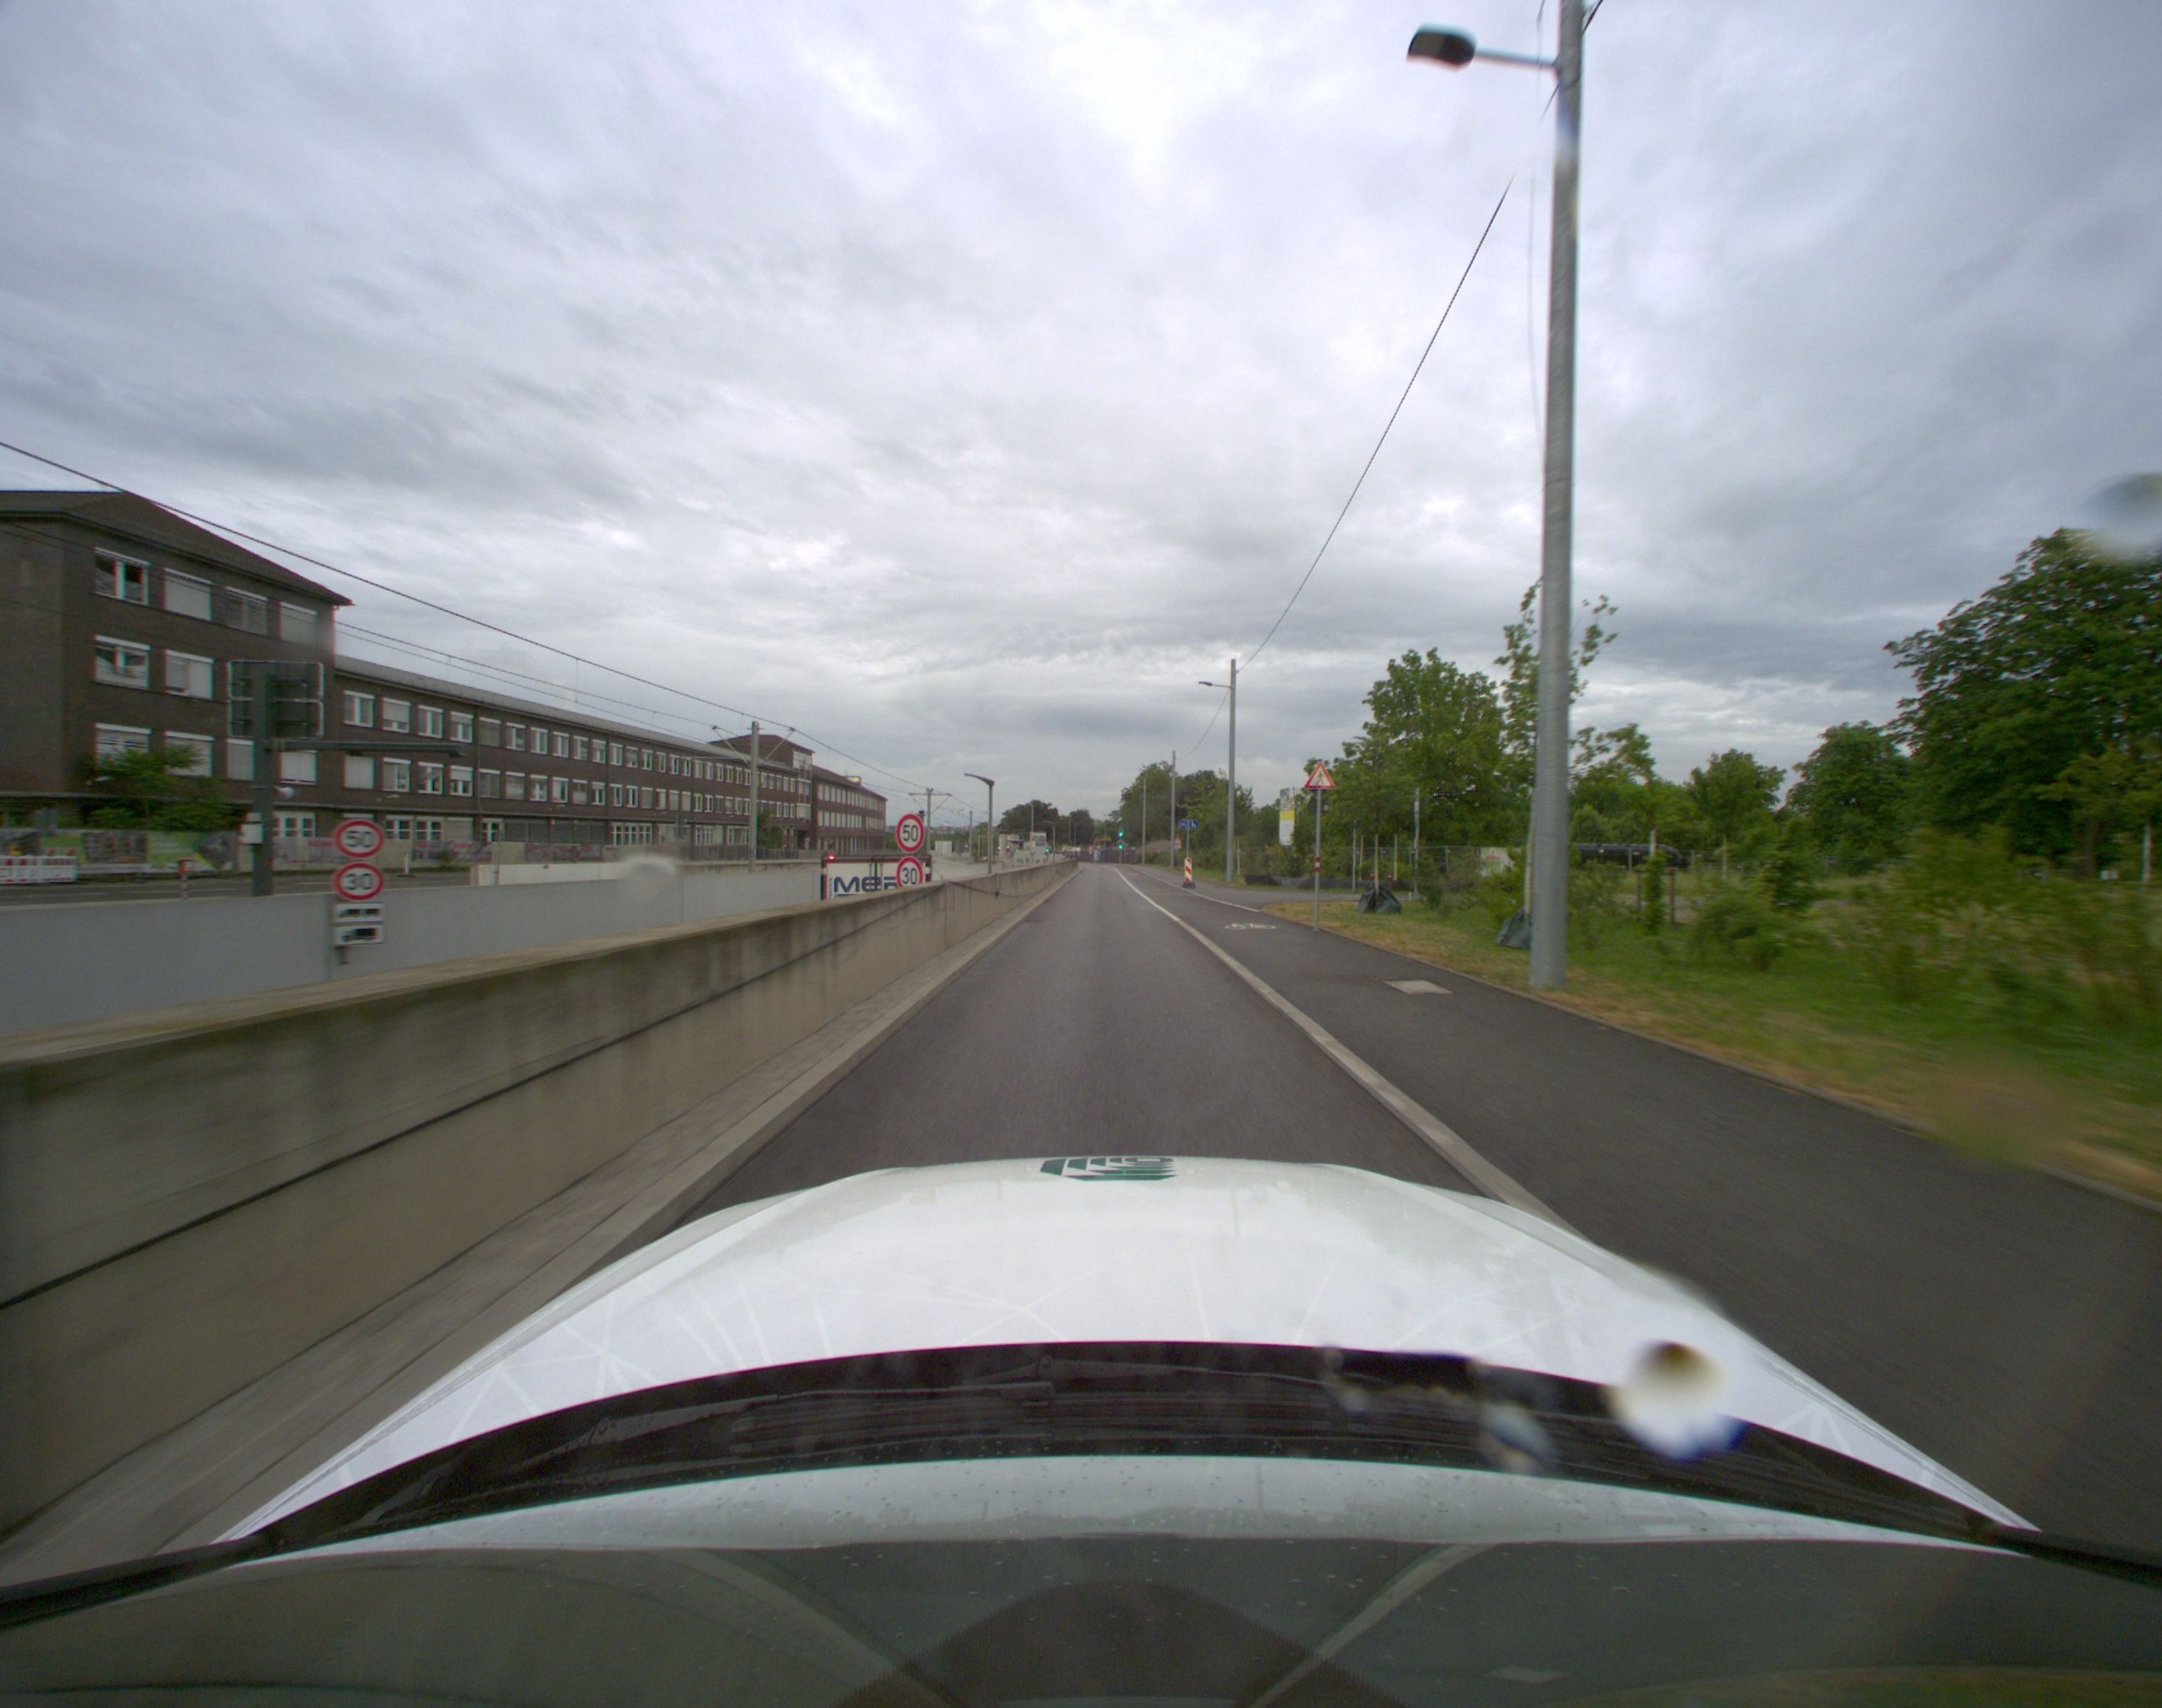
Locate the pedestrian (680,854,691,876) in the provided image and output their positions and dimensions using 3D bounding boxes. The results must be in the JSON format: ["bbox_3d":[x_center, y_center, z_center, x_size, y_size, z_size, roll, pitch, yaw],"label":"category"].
[{"bbox_3d":[-37.706,1.053,77.662,0.669,2.014,0.652,0,-1,-1],"label":"pedestrian"}]

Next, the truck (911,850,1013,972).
[{"bbox_3d":[-4.414,1.983,31.515,2.746,4.205,6.309,-1,0,2],"label":"truck"}]

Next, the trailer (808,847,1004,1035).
[{"bbox_3d":[-4.634,1.979,25.207,2.752,4.253,13.189,-1,0,2],"label":"trailer"}]
